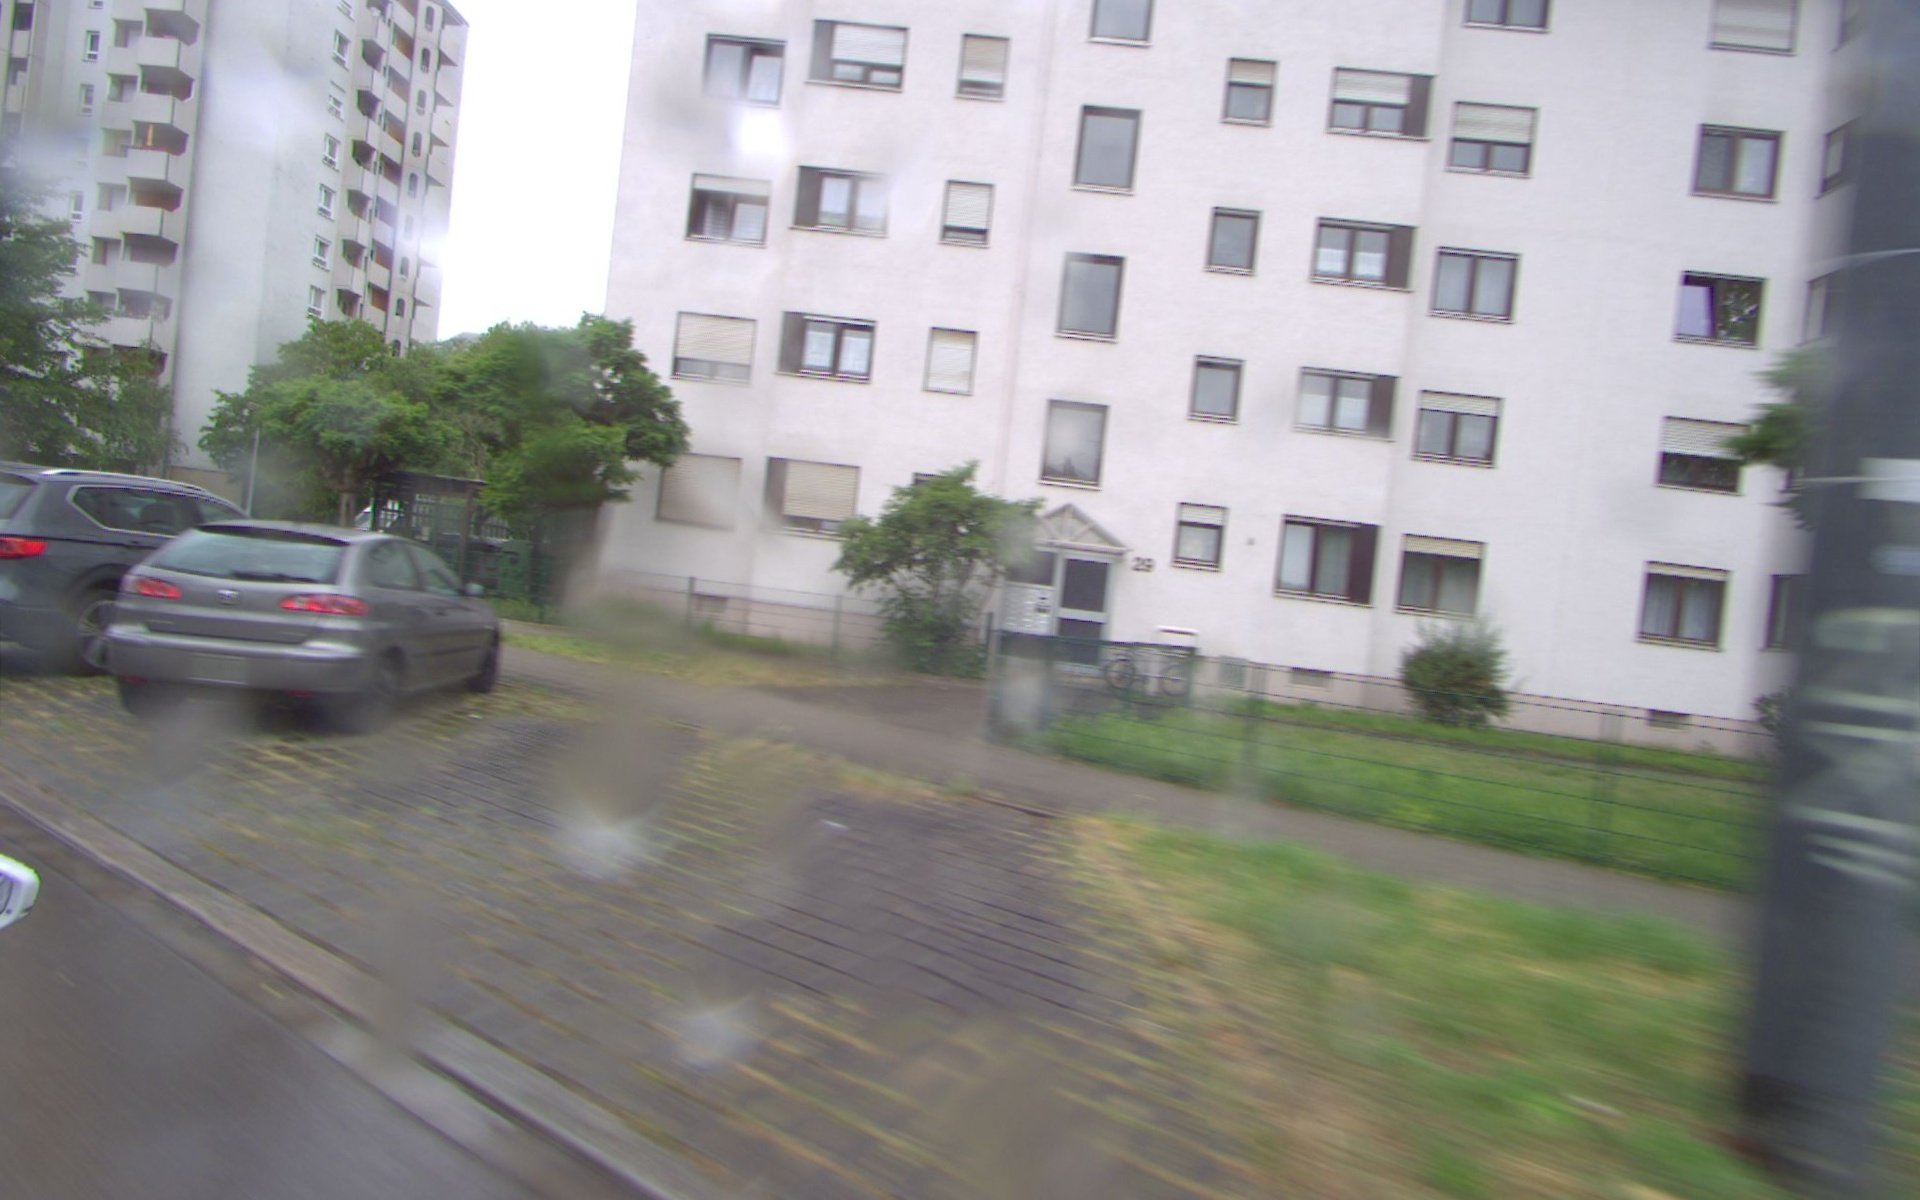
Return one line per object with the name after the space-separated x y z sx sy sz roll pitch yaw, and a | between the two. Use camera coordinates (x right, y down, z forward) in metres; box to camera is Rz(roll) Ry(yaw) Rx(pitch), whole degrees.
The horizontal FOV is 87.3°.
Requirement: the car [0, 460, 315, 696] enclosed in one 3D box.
-7.979 -0.302 9.136 1.826 1.672 4.341 6 1 -8 | car

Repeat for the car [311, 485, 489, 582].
-21.660 -2.486 39.313 2.090 3.001 6.076 7 0 18 | car

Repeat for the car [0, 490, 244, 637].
-10.585 -0.482 11.668 1.707 1.441 4.120 6 1 -4 | car

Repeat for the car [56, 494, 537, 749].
-5.034 0.109 8.385 1.705 1.447 3.992 6 1 -8 | car

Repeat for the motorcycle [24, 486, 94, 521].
-41.749 -4.457 46.621 2.261 1.305 0.884 6 1 -4 | motorcycle

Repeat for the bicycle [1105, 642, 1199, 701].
3.431 1.271 18.041 1.542 0.859 0.491 6 2 6 | bicycle

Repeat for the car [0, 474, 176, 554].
-25.695 -2.481 28.737 1.962 1.767 4.818 7 0 18 | car
